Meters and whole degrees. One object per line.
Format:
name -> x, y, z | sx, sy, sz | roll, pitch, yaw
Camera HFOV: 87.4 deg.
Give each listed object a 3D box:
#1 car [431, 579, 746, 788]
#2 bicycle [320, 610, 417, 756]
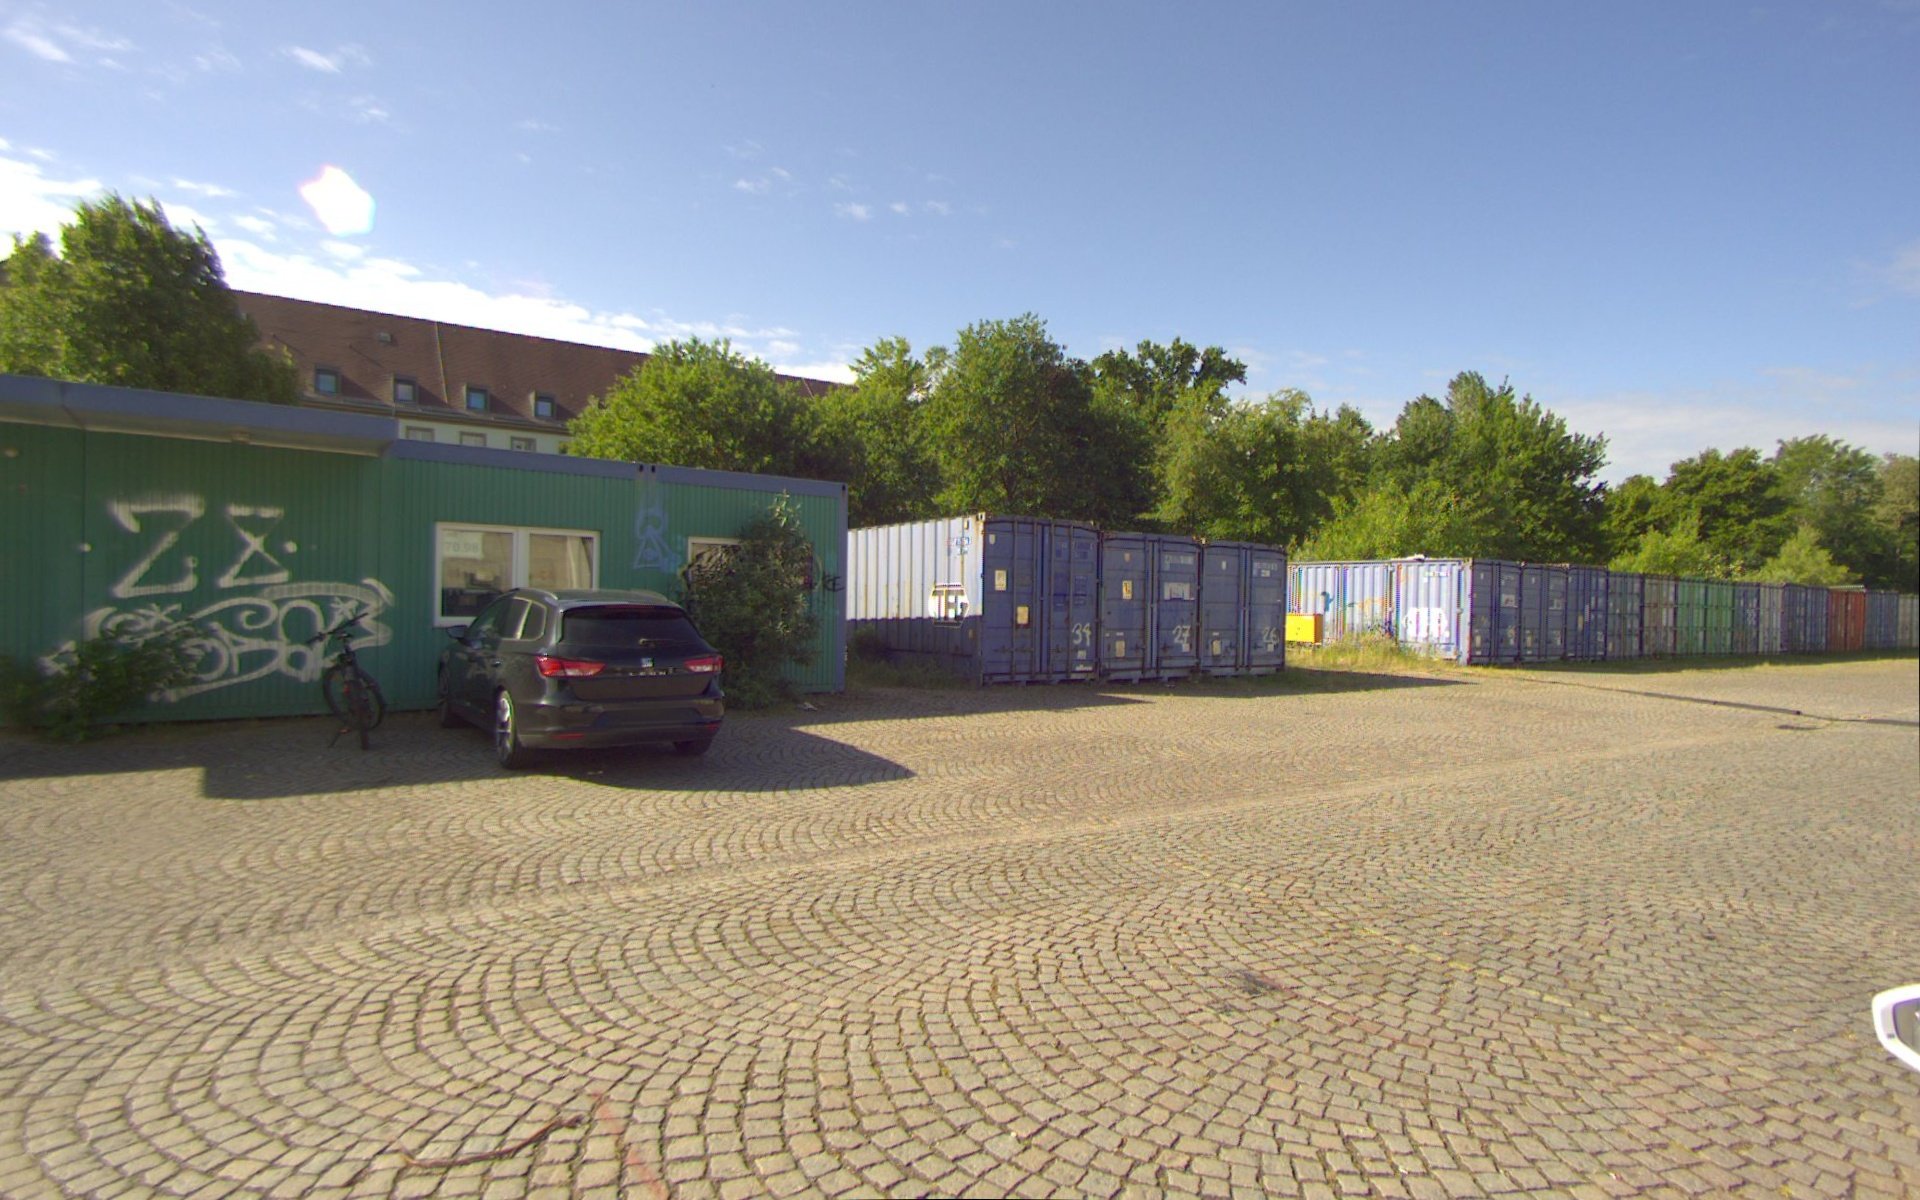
car -> -3.619, 0.577, 9.303 | 1.715, 1.432, 4.021 | 1, 1, -36
bicycle -> -5.455, 0.701, 9.214 | 0.667, 1.116, 1.697 | 1, 2, -34
